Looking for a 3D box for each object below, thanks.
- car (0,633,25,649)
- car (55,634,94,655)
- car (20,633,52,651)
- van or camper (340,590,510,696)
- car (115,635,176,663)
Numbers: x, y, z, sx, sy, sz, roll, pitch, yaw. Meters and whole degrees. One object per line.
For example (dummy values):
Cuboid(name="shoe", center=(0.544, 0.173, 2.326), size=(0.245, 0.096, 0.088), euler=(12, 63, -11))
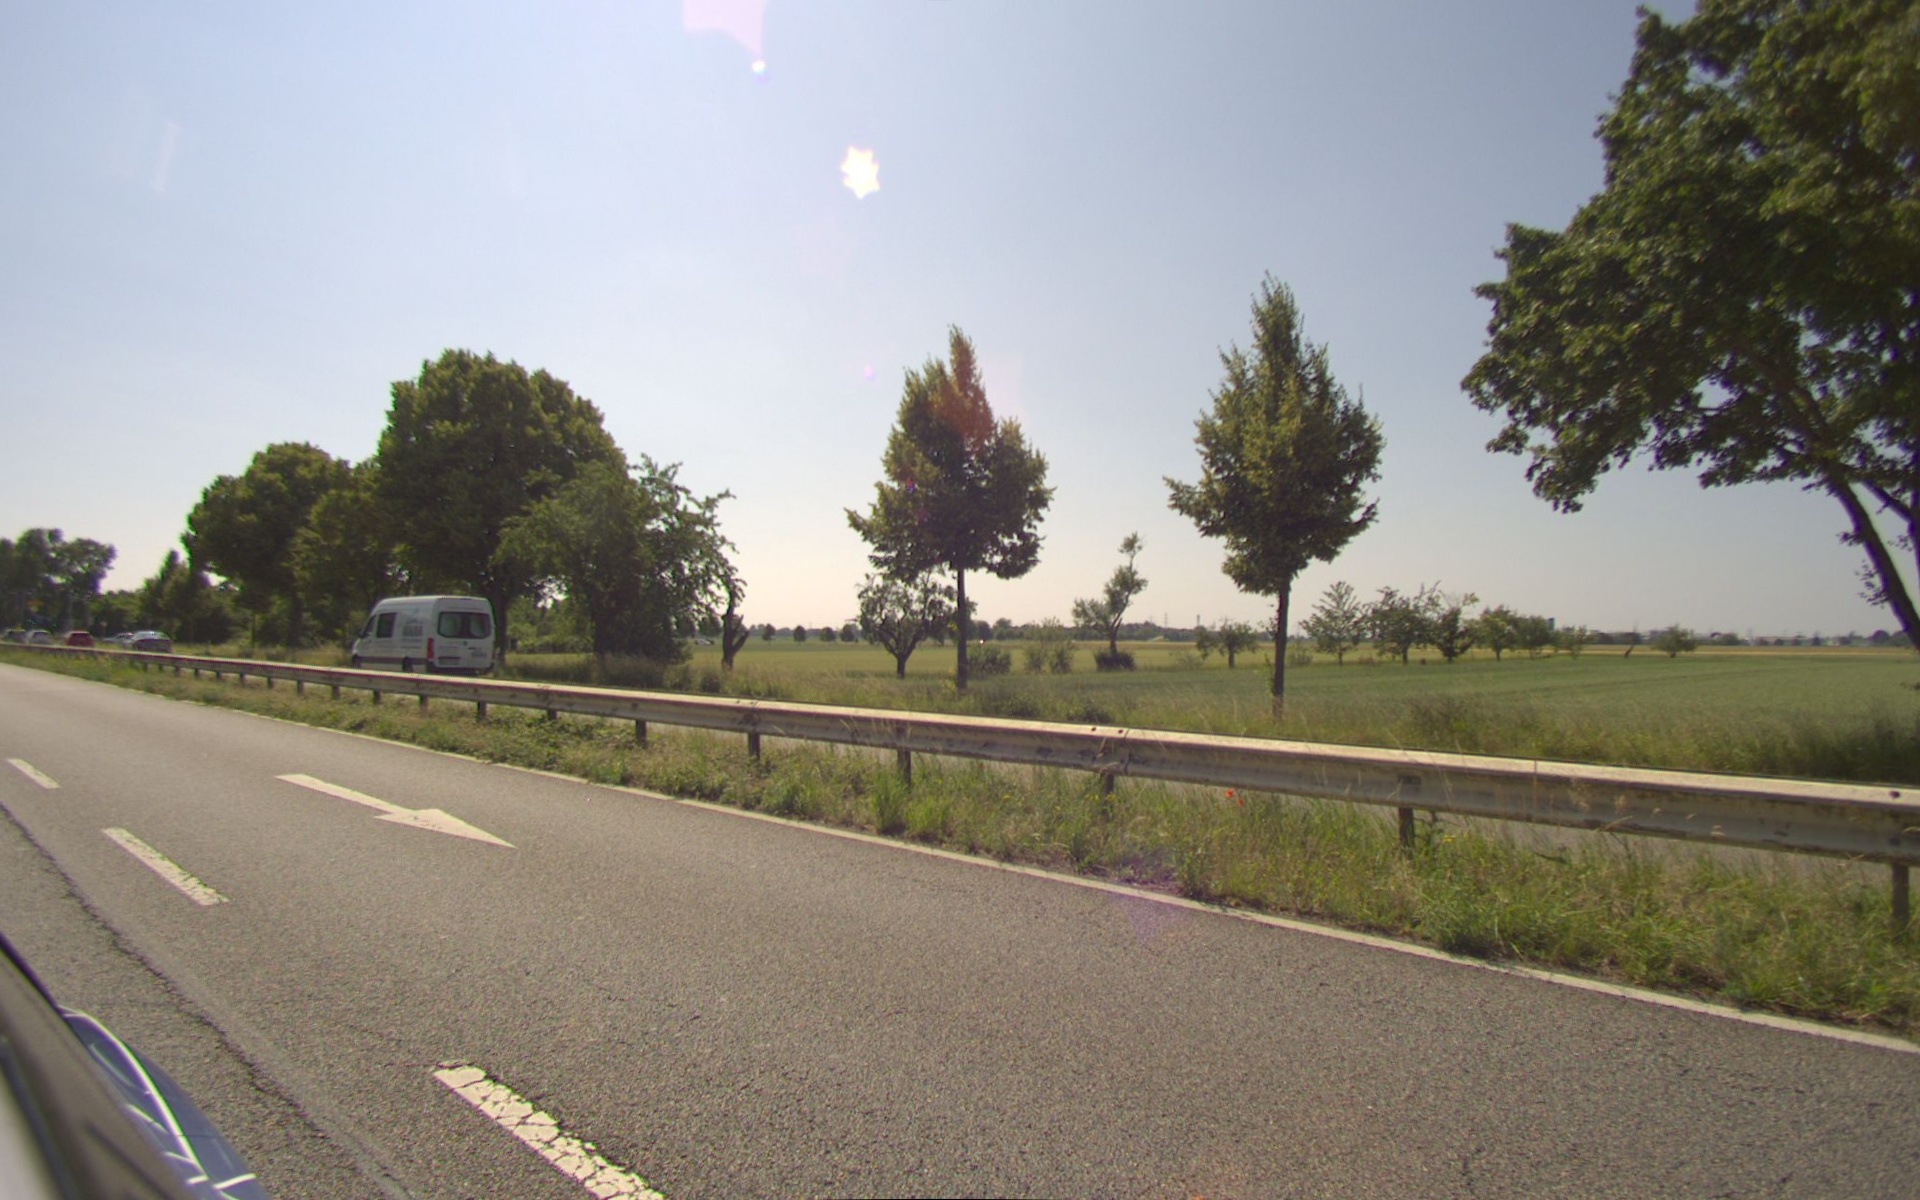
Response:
Cuboid(name="car", center=(-98.286, 4.253, 104.752), size=(3.892, 1.603, 1.742), euler=(-2, -3, 41))
Cuboid(name="car", center=(-69.281, 3.438, 79.206), size=(3.892, 1.603, 1.742), euler=(-2, -3, 41))
Cuboid(name="car", center=(-86.044, 3.928, 94.217), size=(3.892, 1.603, 1.742), euler=(-2, -3, 41))
Cuboid(name="van or camper", center=(-16.918, 1.325, 31.761), size=(7.089, 2.971, 2.360), euler=(-2, -3, 42))
Cuboid(name="car", center=(-48.618, 2.873, 60.372), size=(4.862, 1.603, 1.935), euler=(-2, -3, 41))
